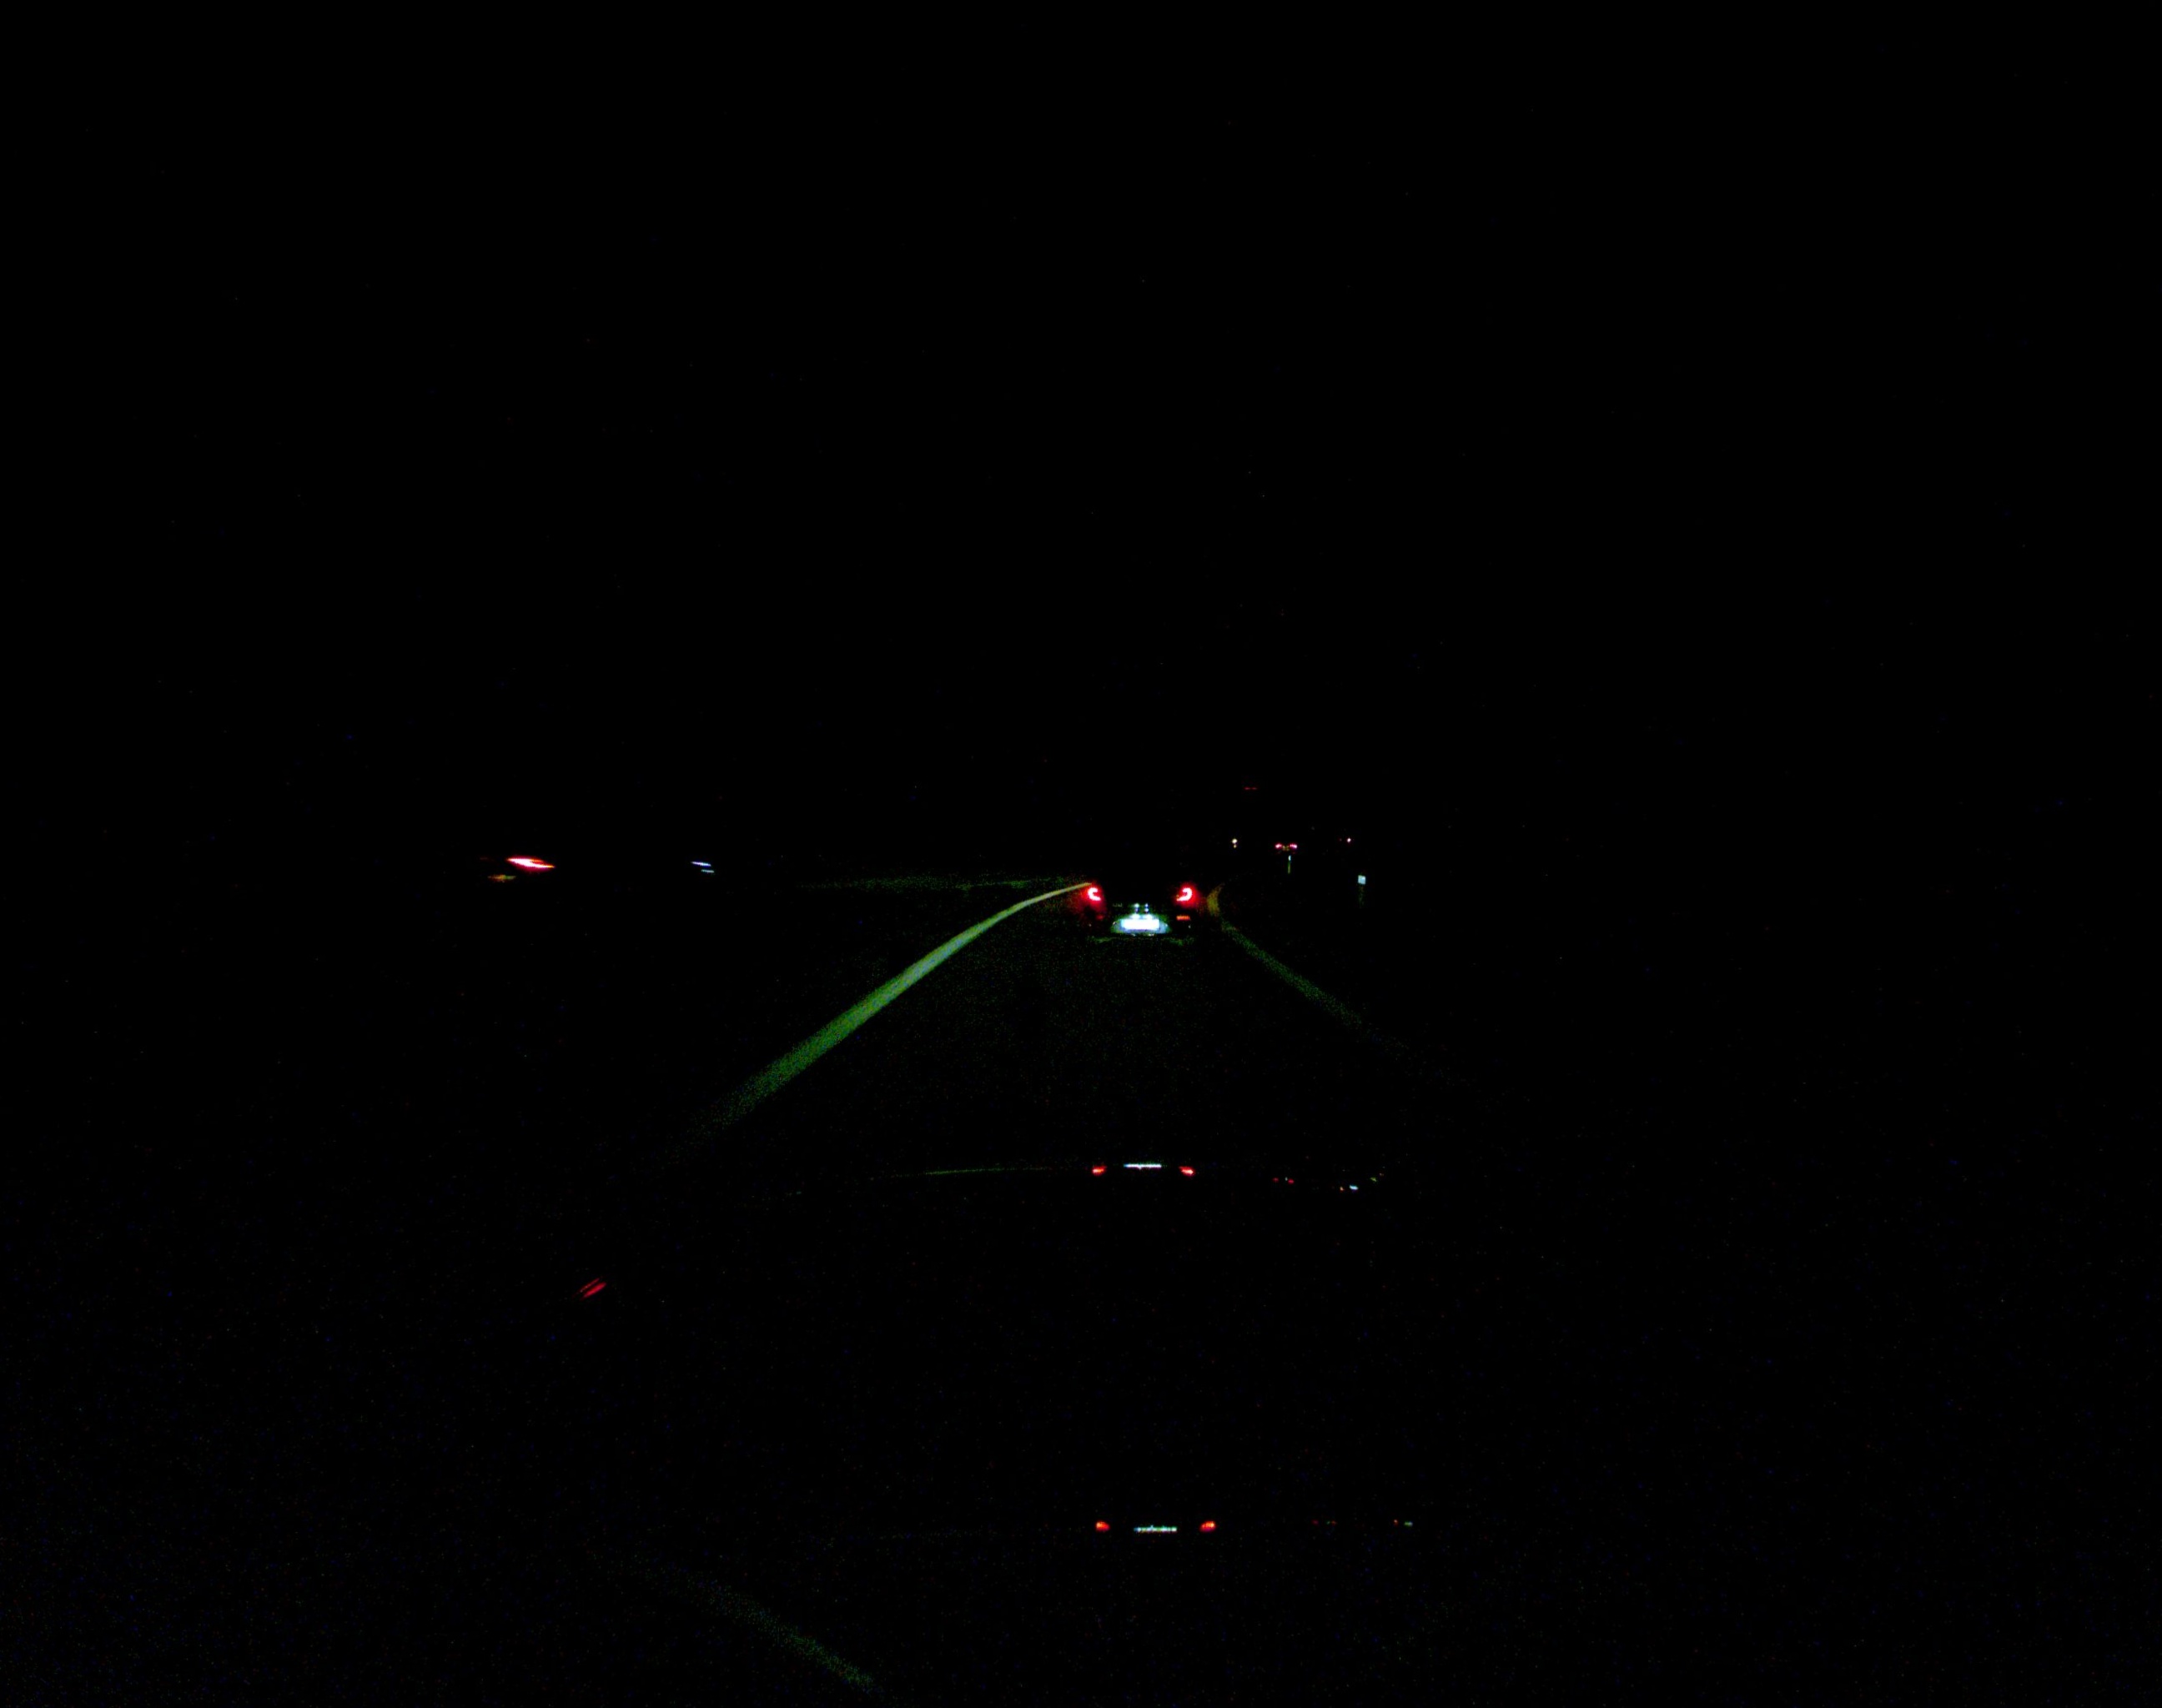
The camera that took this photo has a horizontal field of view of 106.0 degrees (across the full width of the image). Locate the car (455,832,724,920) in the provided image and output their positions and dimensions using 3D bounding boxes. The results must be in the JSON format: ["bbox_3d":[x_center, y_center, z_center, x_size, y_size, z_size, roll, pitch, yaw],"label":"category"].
[{"bbox_3d":[-10.316,0.357,17.559,1.922,1.608,4.670,1,1,25],"label":"car"}]

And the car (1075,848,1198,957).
[{"bbox_3d":[0.913,0.654,13.289,1.684,1.477,4.005,1,1,4],"label":"car"}]

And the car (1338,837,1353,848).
[{"bbox_3d":[39.342,-1.692,121.081,1.718,1.617,3.820,1,2,24],"label":"car"}]

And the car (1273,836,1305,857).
[{"bbox_3d":[17.527,-0.611,68.482,1.934,1.538,4.264,-4,-1,23],"label":"car"}]
